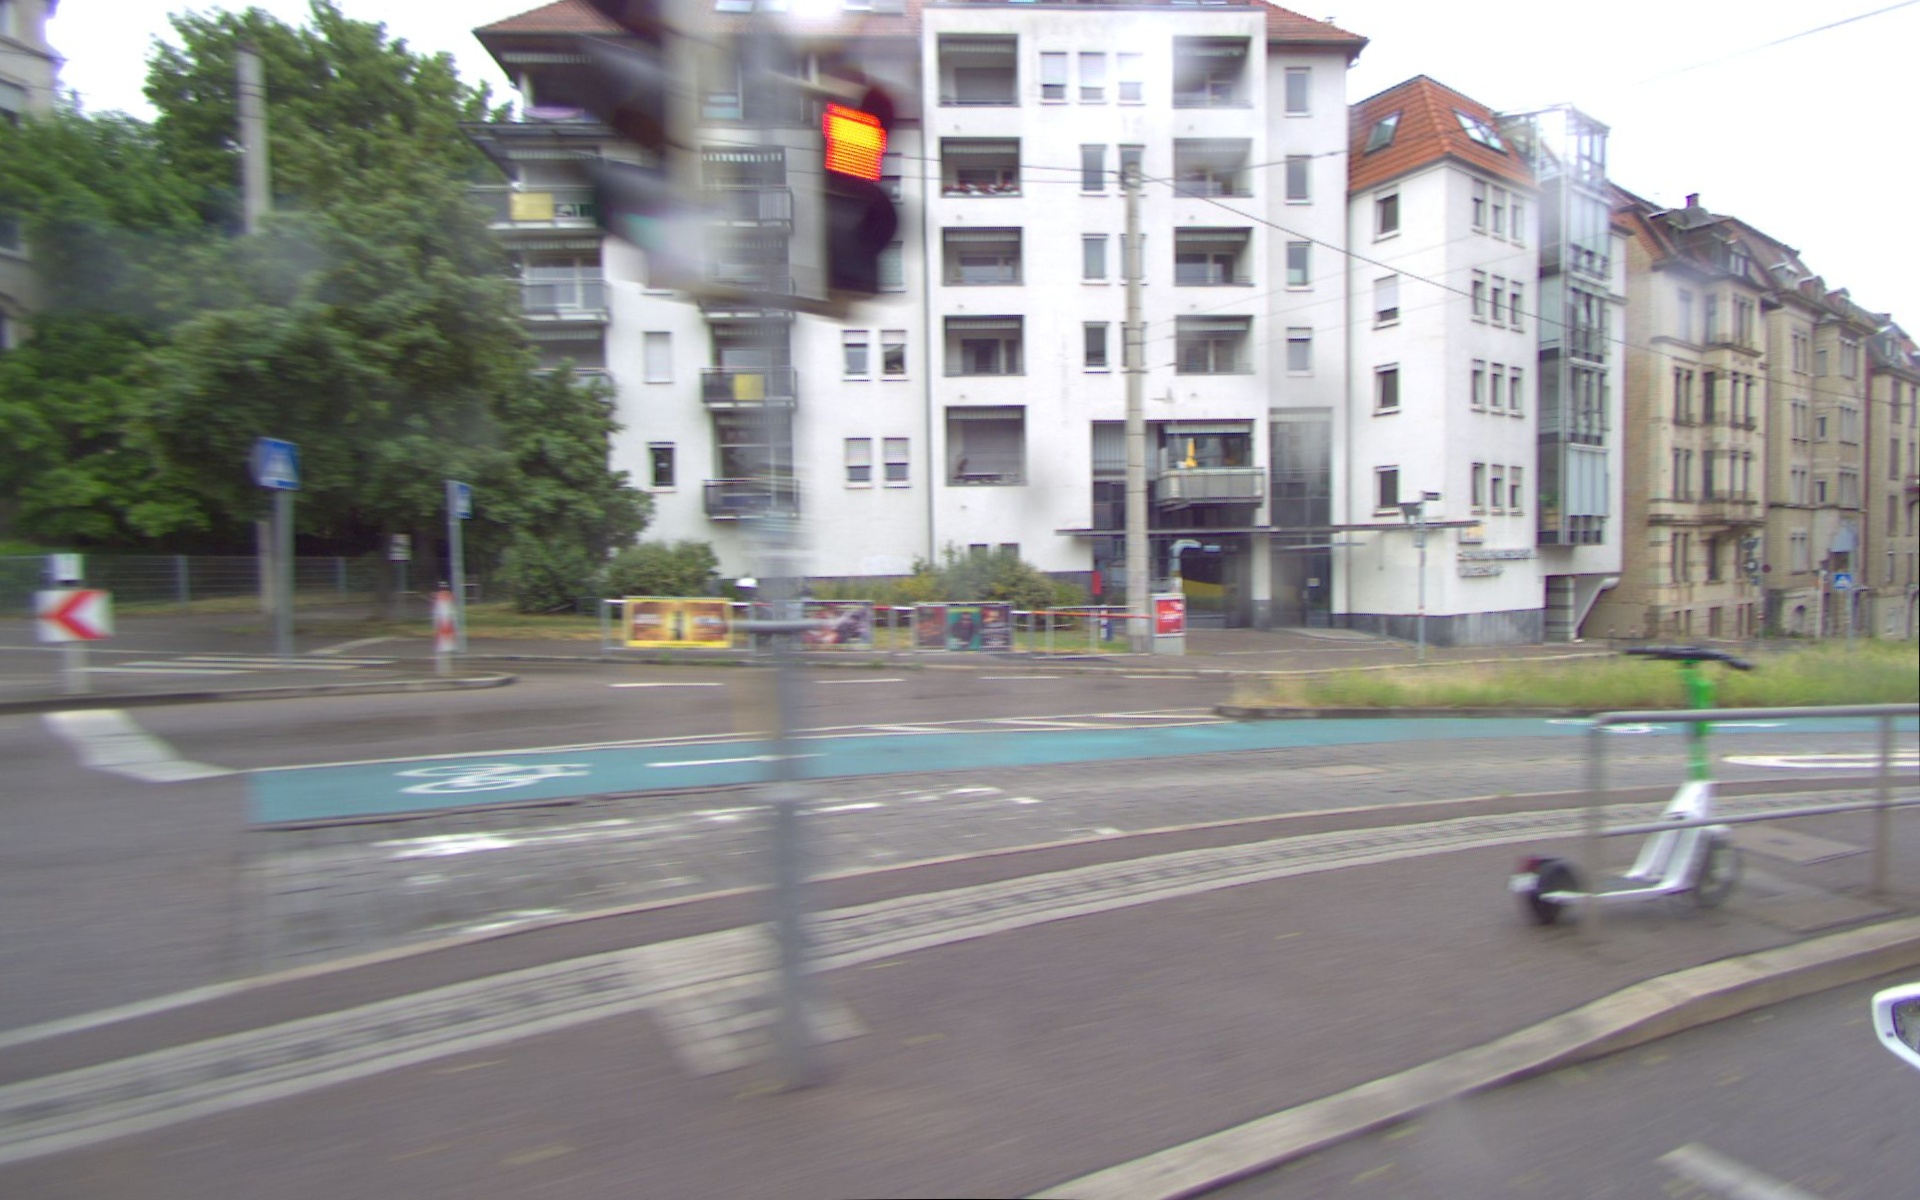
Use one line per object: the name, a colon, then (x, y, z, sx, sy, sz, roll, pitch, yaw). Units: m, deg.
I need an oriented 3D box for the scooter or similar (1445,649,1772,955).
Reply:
scooter or similar: (2.844, 0.793, 4.363, 1.585, 1.128, 0.431, 1, 2, -28)

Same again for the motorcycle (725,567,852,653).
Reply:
motorcycle: (-3.403, 0.194, 19.930, 2.397, 1.571, 0.698, 2, 4, -11)
